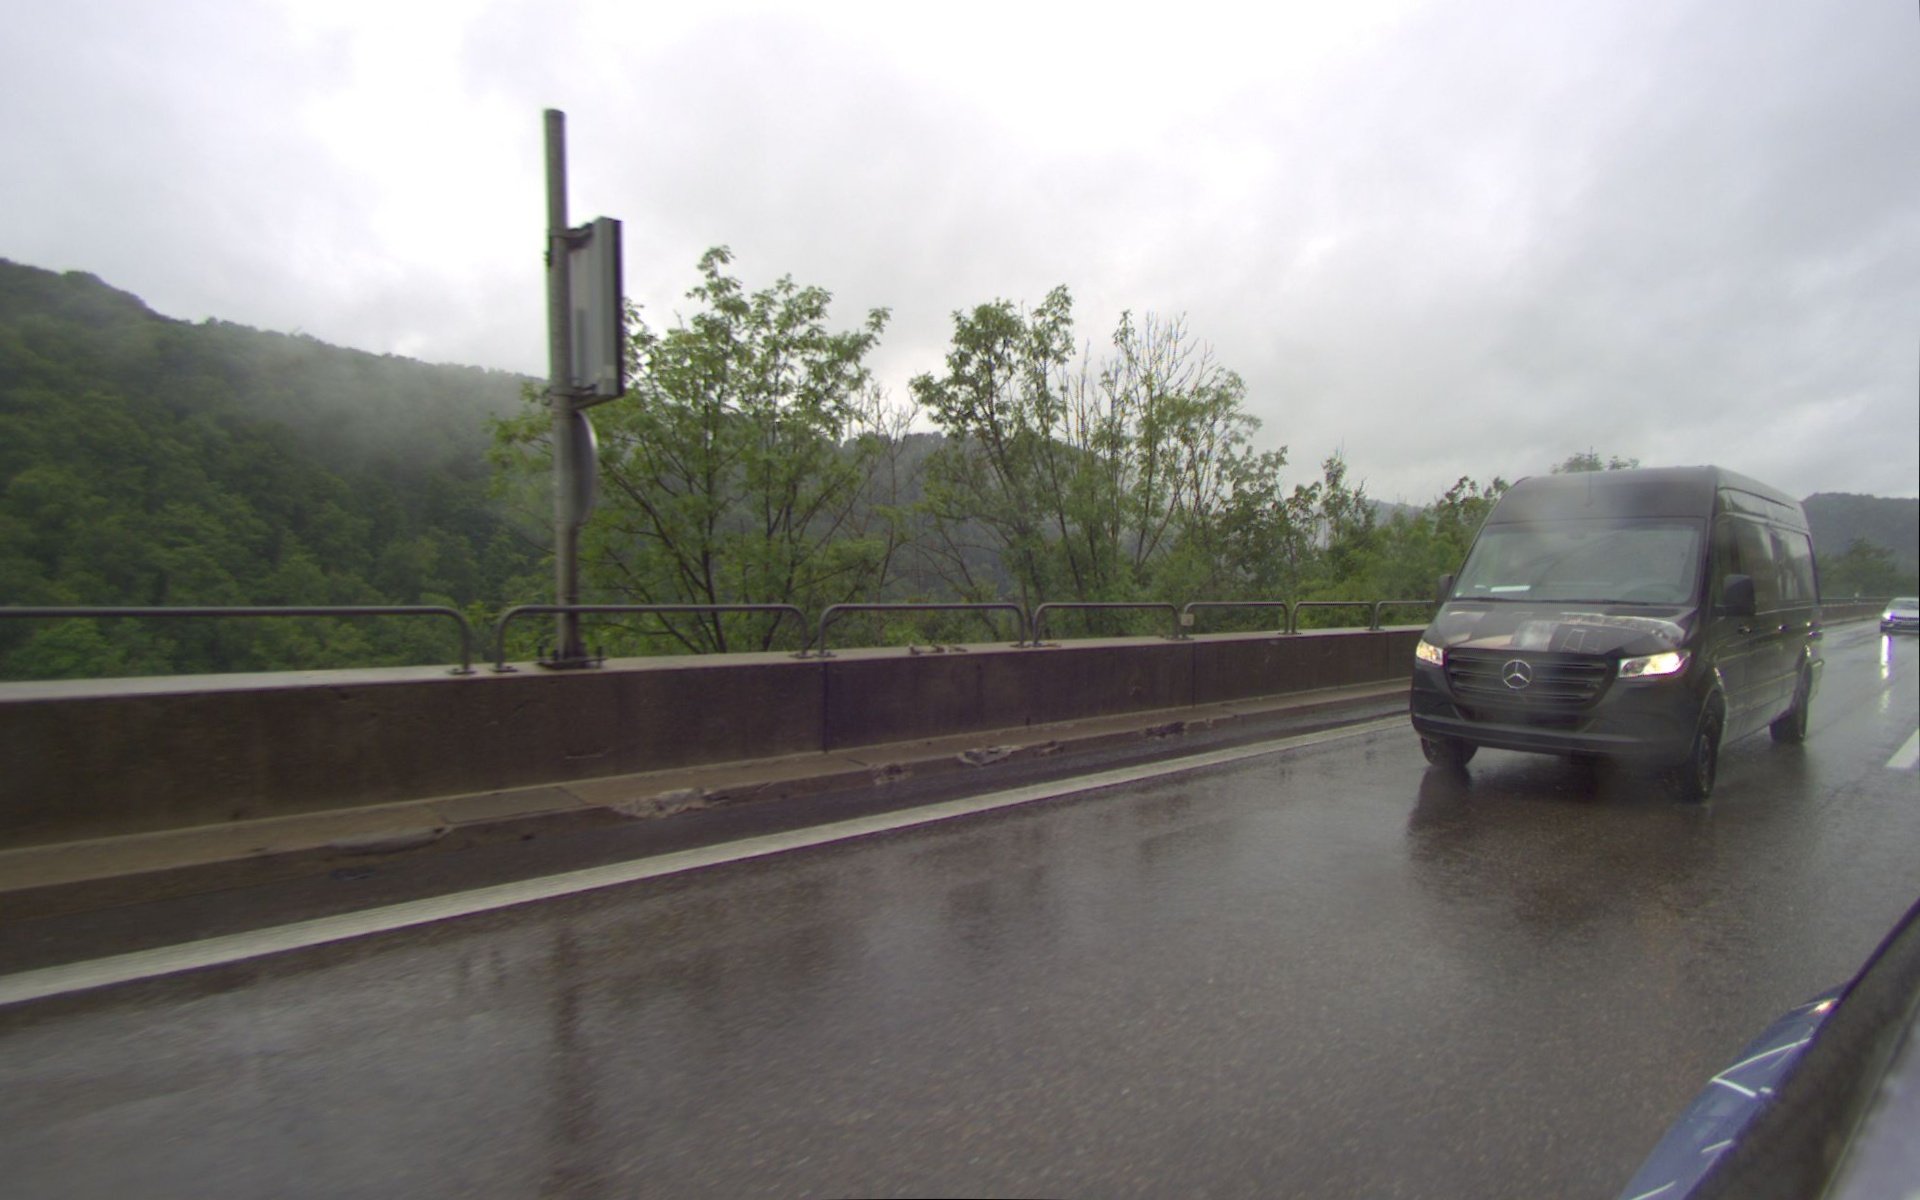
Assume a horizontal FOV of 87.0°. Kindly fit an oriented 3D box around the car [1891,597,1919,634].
[{"bbox_3d":[41.363,0.667,43.157,4.486,1.432,1.989,0,4,-42],"label":"car"}]

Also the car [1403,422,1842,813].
[{"bbox_3d":[6.579,0.078,9.540,6.593,2.525,1.996,0,1,-44],"label":"car"}]
